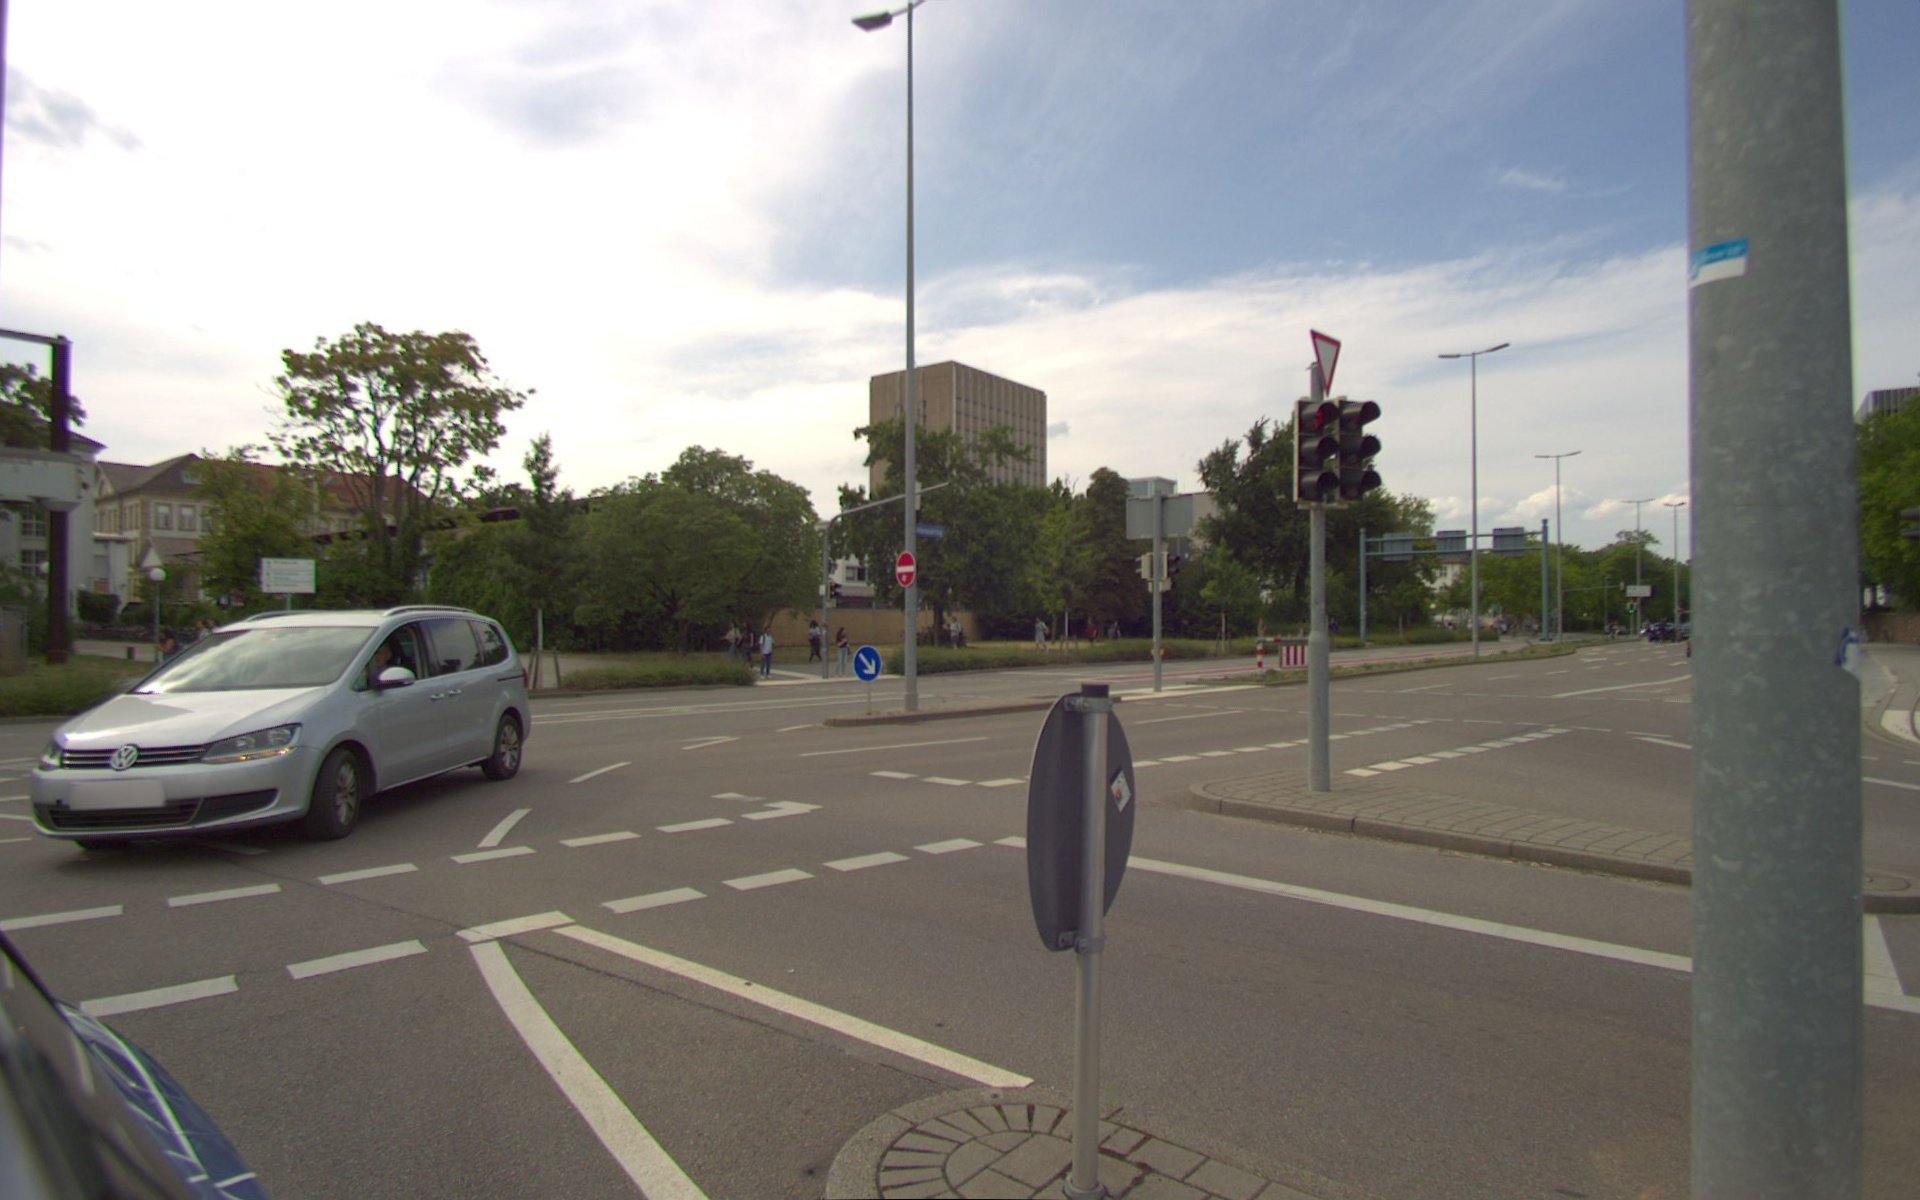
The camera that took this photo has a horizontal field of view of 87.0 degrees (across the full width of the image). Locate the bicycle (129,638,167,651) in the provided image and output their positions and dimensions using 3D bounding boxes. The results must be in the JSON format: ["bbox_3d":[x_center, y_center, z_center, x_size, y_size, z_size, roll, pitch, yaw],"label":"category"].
[{"bbox_3d":[-50.404,2.763,62.808,1.816,0.699,0.653,0,-3,-40],"label":"bicycle"}]

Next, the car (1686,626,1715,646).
[{"bbox_3d":[60.920,2.936,83.243,1.788,1.500,4.077,1,0,38],"label":"car"}]

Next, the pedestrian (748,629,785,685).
[{"bbox_3d":[-6.158,1.810,32.260,0.827,1.724,0.800,0,-3,-43],"label":"pedestrian"}]

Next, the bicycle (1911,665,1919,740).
[{"bbox_3d":[13.145,1.275,12.734,1.942,0.943,0.506,-2,-1,-4],"label":"bicycle"}]

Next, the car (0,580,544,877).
[{"bbox_3d":[-5.247,0.873,8.400,1.799,1.747,4.529,-2,-2,-1],"label":"car"}]

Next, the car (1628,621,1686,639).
[{"bbox_3d":[63.880,2.768,92.878,1.759,1.500,4.143,1,0,-18],"label":"car"}]

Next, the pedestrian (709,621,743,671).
[{"bbox_3d":[-8.399,1.648,36.314,0.835,1.724,0.792,-3,-3,27],"label":"pedestrian"}]

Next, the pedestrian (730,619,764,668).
[{"bbox_3d":[-7.552,1.541,35.883,0.835,1.724,0.792,-3,-3,27],"label":"pedestrian"}]

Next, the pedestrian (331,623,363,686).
[{"bbox_3d":[-17.194,1.524,28.395,0.673,1.724,0.624,-4,-4,45],"label":"pedestrian"}]

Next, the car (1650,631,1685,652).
[{"bbox_3d":[55.533,3.244,79.410,1.789,1.500,4.073,1,0,41],"label":"car"}]

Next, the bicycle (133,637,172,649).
[{"bbox_3d":[-48.266,2.571,60.481,1.816,0.699,0.653,0,-3,-40],"label":"bicycle"}]

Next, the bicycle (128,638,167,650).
[{"bbox_3d":[-49.351,2.664,61.474,1.816,0.699,0.653,0,-3,-40],"label":"bicycle"}]

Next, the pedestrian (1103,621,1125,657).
[{"bbox_3d":[7.510,1.878,49.202,0.735,1.724,0.683,-4,-4,45],"label":"pedestrian"}]

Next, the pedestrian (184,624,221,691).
[{"bbox_3d":[-19.886,1.499,26.557,0.640,1.724,0.698,-4,-4,45],"label":"pedestrian"}]

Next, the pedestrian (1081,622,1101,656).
[{"bbox_3d":[6.706,1.984,51.885,0.714,1.724,0.685,-4,-3,41],"label":"pedestrian"}]

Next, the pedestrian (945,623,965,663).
[{"bbox_3d":[-0.215,1.880,44.374,0.544,1.709,0.686,0,-1,38],"label":"pedestrian"}]

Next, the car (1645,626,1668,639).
[{"bbox_3d":[82.500,3.845,119.819,1.789,1.500,4.073,1,0,41],"label":"car"}]

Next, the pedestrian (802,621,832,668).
[{"bbox_3d":[-5.446,1.693,38.535,0.714,1.724,0.789,-4,-3,38],"label":"pedestrian"}]

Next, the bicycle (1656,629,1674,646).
[{"bbox_3d":[52.240,2.790,74.981,0.759,1.198,2.068,1,-1,44],"label":"bicycle"}]

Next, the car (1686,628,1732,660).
[{"bbox_3d":[37.076,2.158,50.134,1.697,1.491,4.361,-4,-3,36],"label":"car"}]

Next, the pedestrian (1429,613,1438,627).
[{"bbox_3d":[56.438,2.376,120.603,0.769,1.724,0.685,-4,-3,42],"label":"pedestrian"}]

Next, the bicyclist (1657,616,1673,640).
[{"bbox_3d":[52.259,2.081,74.971,0.778,1.724,1.070,1,-2,44],"label":"bicyclist"}]

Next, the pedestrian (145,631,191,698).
[{"bbox_3d":[-19.373,1.564,24.754,0.840,1.554,0.788,1,1,45],"label":"pedestrian"}]

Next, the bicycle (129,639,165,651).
[{"bbox_3d":[-51.594,2.839,64.232,1.816,0.699,0.653,0,-3,-40],"label":"bicycle"}]

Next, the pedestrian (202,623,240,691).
[{"bbox_3d":[-19.160,1.461,26.230,0.640,1.724,0.698,-4,-4,45],"label":"pedestrian"}]

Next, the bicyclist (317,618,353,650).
[{"bbox_3d":[-26.058,1.438,42.213,0.997,1.287,0.840,-2,-2,-5],"label":"bicyclist"}]

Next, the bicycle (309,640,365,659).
[{"bbox_3d":[-25.993,2.062,42.220,1.816,0.699,0.845,-2,-2,-7],"label":"bicycle"}]

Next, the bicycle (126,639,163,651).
[{"bbox_3d":[-51.042,2.822,63.357,1.816,0.699,0.653,0,-3,-40],"label":"bicycle"}]

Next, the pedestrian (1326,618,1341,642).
[{"bbox_3d":[27.639,2.225,74.872,0.714,1.724,0.685,-4,-3,41],"label":"pedestrian"}]

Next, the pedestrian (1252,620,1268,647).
[{"bbox_3d":[19.852,2.202,66.991,0.714,1.724,0.685,-4,-3,41],"label":"pedestrian"}]

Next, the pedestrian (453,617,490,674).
[{"bbox_3d":[-15.151,1.399,31.395,0.840,1.724,0.788,-4,-4,45],"label":"pedestrian"}]

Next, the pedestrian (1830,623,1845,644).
[{"bbox_3d":[68.813,2.640,79.353,0.753,1.634,0.657,-4,-3,36],"label":"pedestrian"}]

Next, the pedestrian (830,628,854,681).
[{"bbox_3d":[-3.909,1.796,33.501,0.579,1.724,0.481,0,-3,-43],"label":"pedestrian"}]

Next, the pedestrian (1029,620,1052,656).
[{"bbox_3d":[3.893,1.859,49.104,0.841,1.724,0.686,-4,-3,38],"label":"pedestrian"}]

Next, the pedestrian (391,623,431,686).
[{"bbox_3d":[-15.557,1.540,28.695,0.840,1.724,0.788,-4,-4,45],"label":"pedestrian"}]
